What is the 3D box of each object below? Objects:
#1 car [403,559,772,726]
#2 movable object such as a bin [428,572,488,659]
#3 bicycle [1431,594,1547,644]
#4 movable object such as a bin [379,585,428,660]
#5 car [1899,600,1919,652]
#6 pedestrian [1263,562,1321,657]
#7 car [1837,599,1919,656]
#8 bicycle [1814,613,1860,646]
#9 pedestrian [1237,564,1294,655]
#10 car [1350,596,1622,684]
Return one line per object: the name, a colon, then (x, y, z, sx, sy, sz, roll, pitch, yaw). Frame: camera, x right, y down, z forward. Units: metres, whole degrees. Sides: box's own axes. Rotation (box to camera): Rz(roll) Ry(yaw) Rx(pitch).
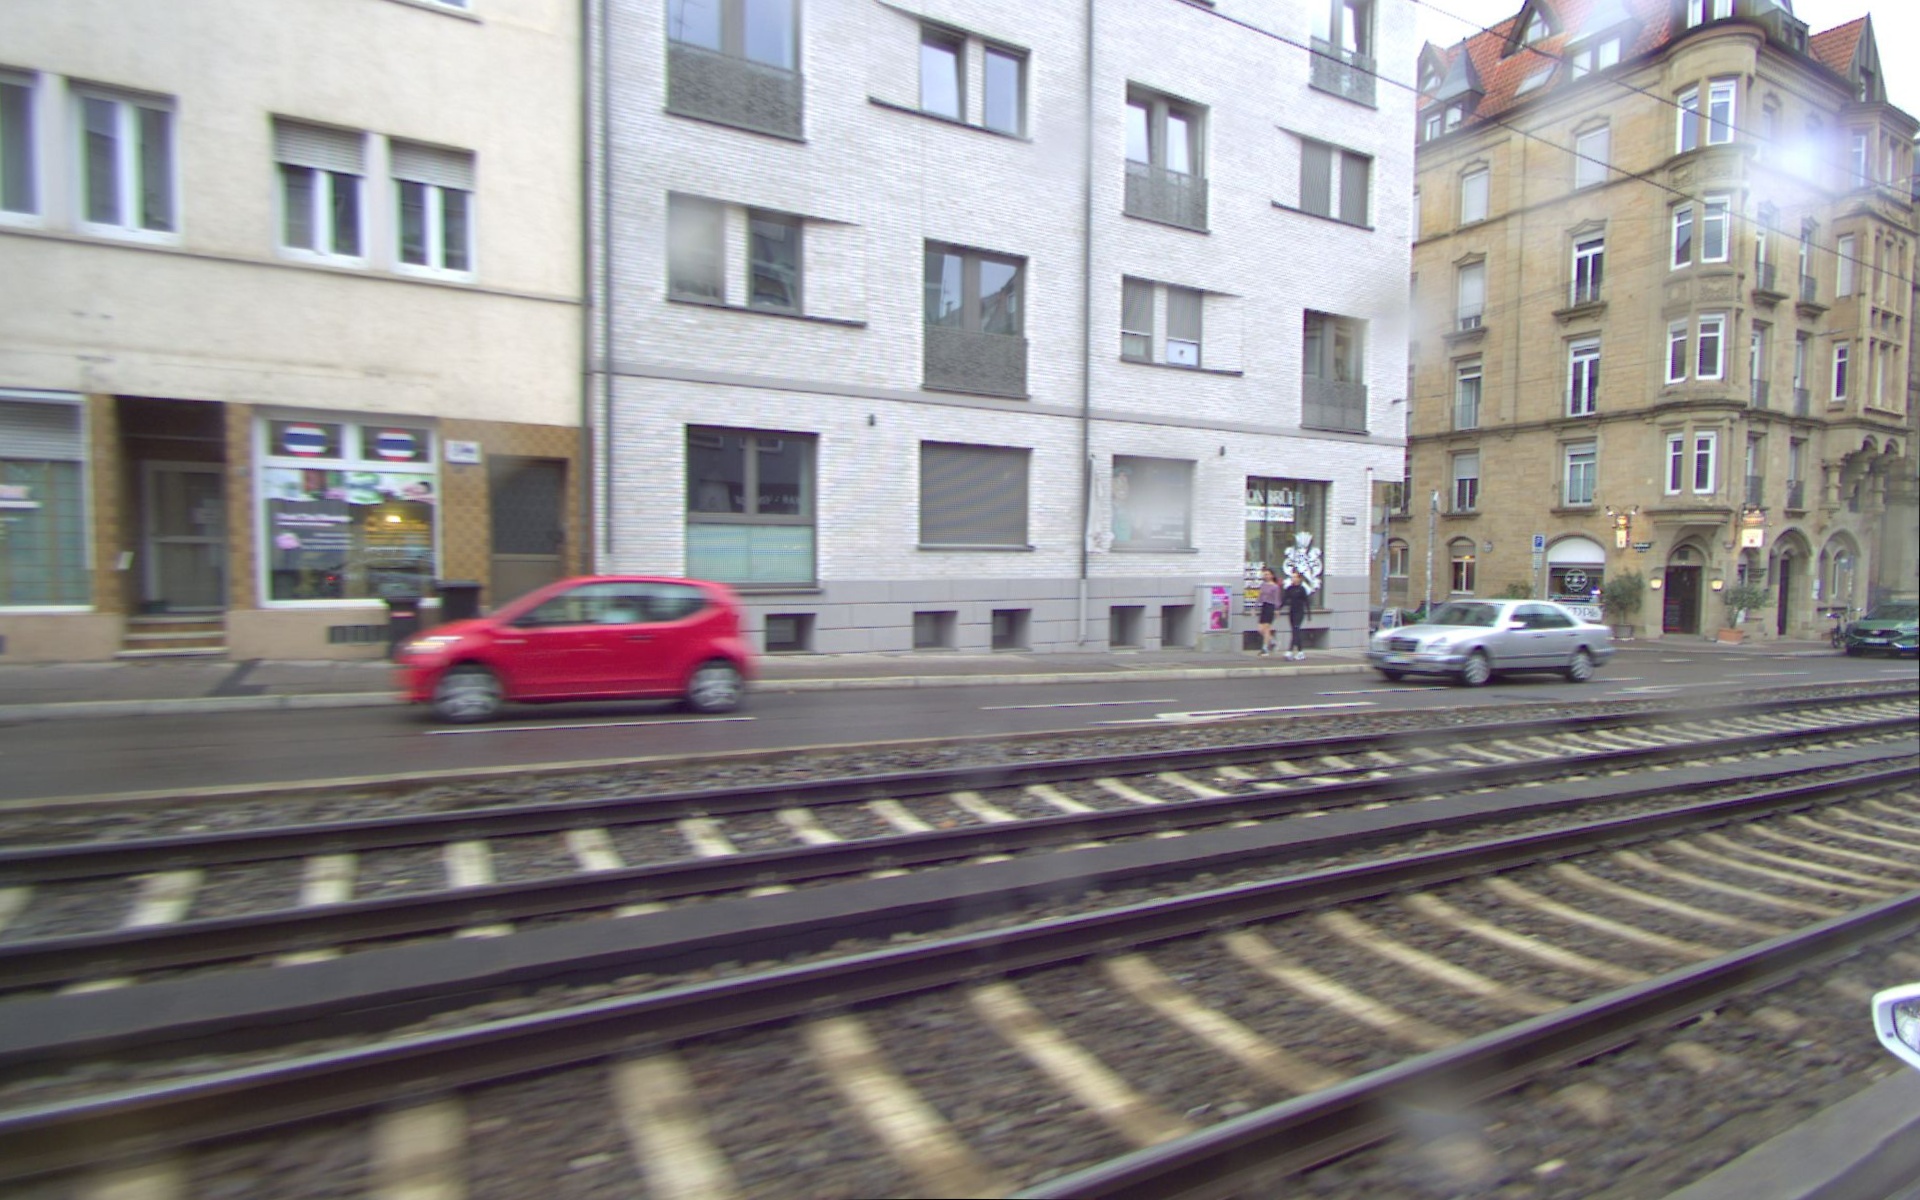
car: (-3.948, 0.397, 10.734, 3.476, 1.517, 1.673, 1, 0, -29)
movable object such as a bin: (-6.772, 0.201, 13.531, 0.679, 1.088, 0.709, 0, 5, -30)
bicycle: (17.925, 0.614, 34.126, 1.584, 1.605, 3.121, 0, 0, -38)
movable object such as a bin: (-7.344, 0.283, 13.252, 0.553, 0.923, 0.591, 0, 5, -30)
car: (32.317, 0.840, 32.273, 4.468, 1.618, 1.799, 1, 0, -28)
pedestrian: (6.564, 0.195, 19.862, 0.871, 1.810, 0.626, 2, -1, -30)
car: (27.954, 0.790, 29.753, 3.884, 1.561, 1.715, 1, 0, -28)
bicycle: (27.935, 0.918, 31.970, 2.058, 1.014, 0.594, 1, 0, -34)
pedestrian: (6.226, 0.196, 20.469, 0.913, 1.810, 0.637, 2, -1, -30)
car: (9.258, 0.646, 17.624, 4.700, 1.379, 1.800, 1, 0, -26)
